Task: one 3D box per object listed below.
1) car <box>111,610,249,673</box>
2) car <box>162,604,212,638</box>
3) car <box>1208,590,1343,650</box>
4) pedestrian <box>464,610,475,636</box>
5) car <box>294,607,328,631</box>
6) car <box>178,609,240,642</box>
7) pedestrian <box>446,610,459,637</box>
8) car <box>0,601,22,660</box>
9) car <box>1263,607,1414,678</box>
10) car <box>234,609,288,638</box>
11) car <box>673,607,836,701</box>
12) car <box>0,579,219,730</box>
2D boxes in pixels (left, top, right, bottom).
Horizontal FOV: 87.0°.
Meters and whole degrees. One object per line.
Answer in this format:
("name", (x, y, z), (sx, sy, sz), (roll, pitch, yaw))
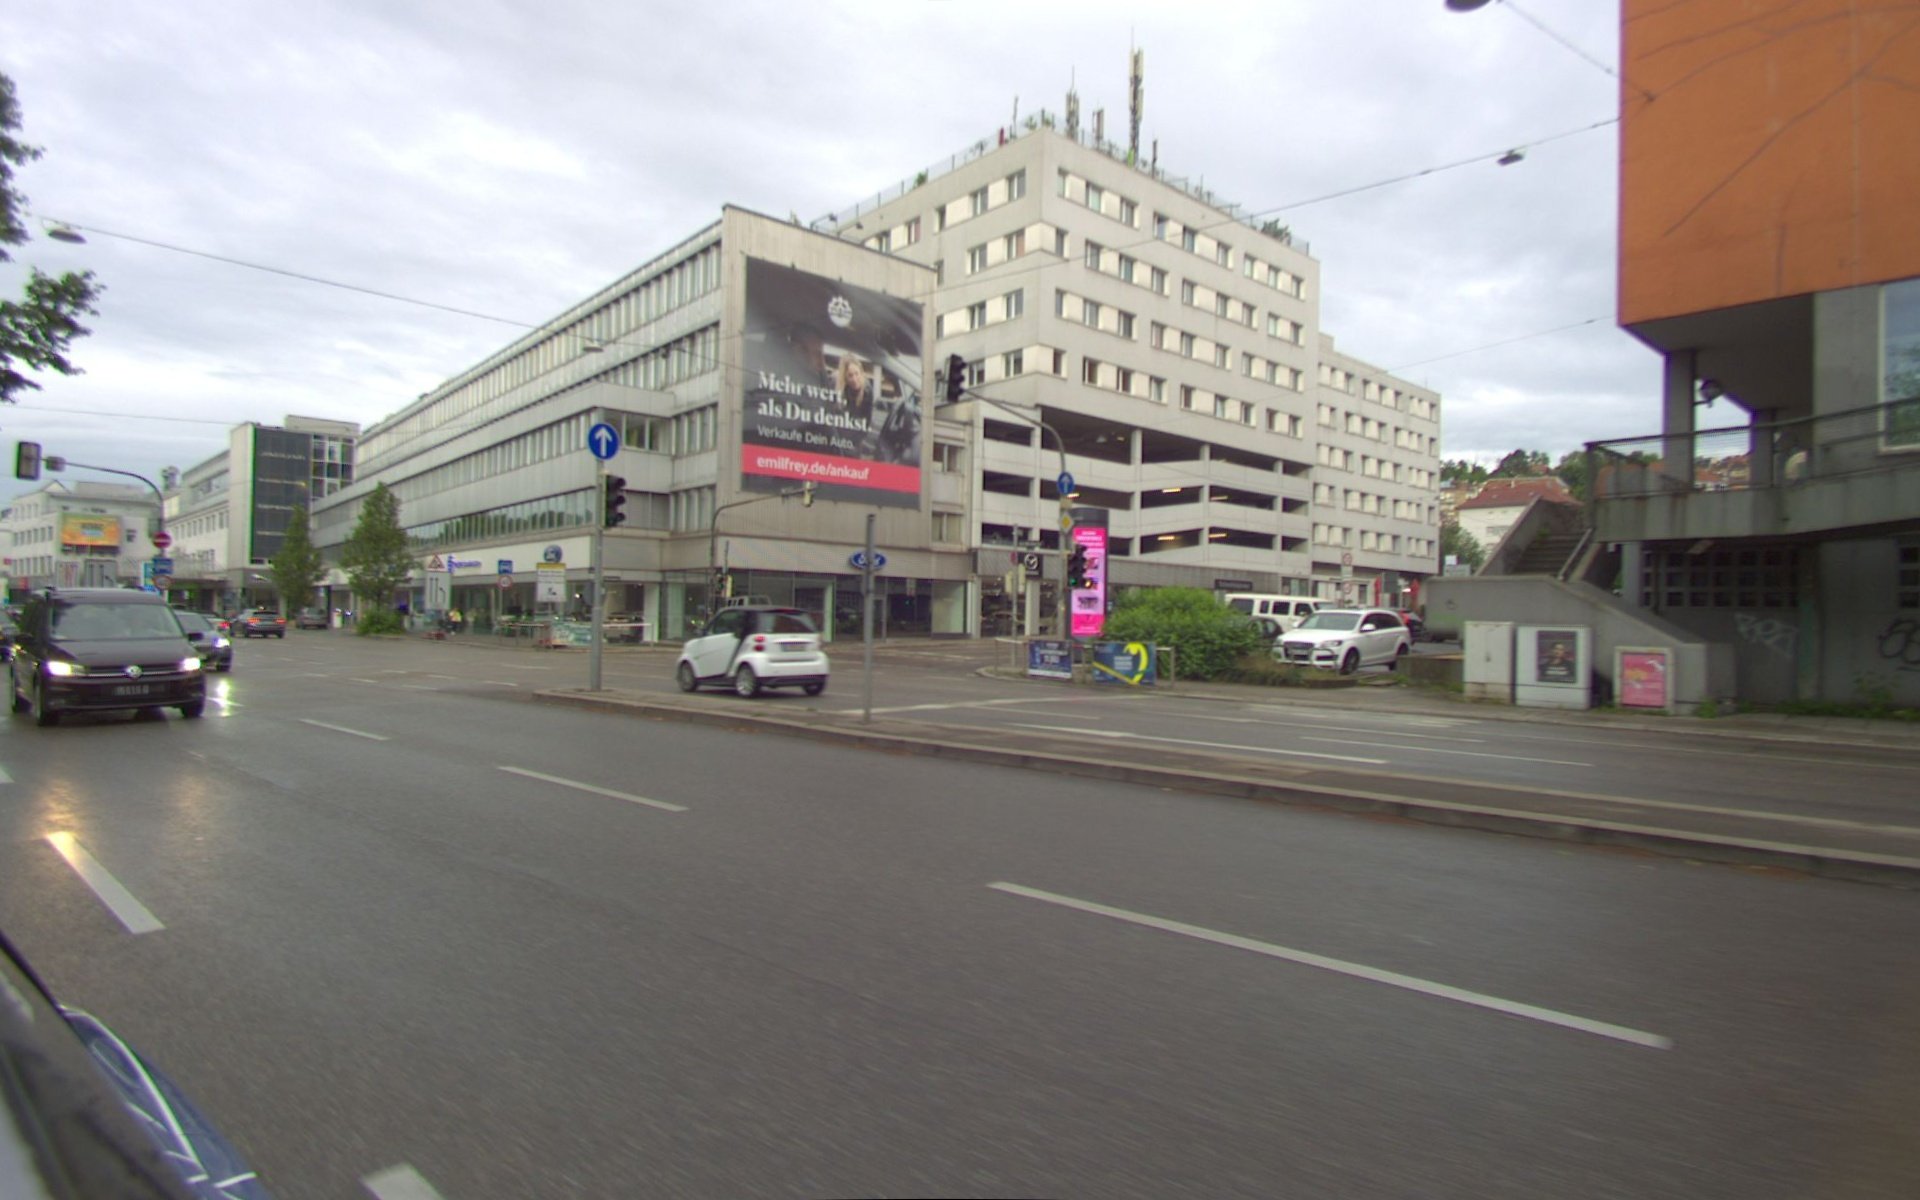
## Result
("car", (-19.267, 1.019, 24.926), (4.533, 1.426, 1.649), (-2, -2, 38))
("car", (-39.585, 1.058, 51.801), (1.661, 1.654, 4.004), (1, -1, -43))
("car", (11.144, 0.696, 35.939), (4.138, 2.029, 1.971), (-1, -1, 44))
("pedestrian", (-29.225, 1.387, 60.330), (0.431, 1.542, 0.514), (1, -1, -43))
("car", (-52.708, 1.518, 82.188), (1.856, 1.881, 4.007), (0, -1, -40))
("car", (-33.924, 1.132, 45.680), (4.002, 1.450, 1.662), (-1, -1, 45))
("pedestrian", (-29.956, 1.392, 59.771), (0.567, 1.542, 0.454), (1, -1, -43))
("car", (-28.225, 0.858, 28.904), (3.998, 1.625, 1.709), (-1, -1, 41))
("car", (9.658, 1.011, 25.656), (4.241, 1.637, 1.937), (1, -1, -44))
("car", (-36.397, 1.210, 52.683), (1.661, 1.450, 4.003), (1, -1, -44))
("car", (-3.606, 0.877, 17.575), (2.772, 1.489, 1.504), (-1, -1, 45))
("car", (-11.983, 0.681, 14.133), (3.998, 1.804, 1.818), (-1, -1, 41))
